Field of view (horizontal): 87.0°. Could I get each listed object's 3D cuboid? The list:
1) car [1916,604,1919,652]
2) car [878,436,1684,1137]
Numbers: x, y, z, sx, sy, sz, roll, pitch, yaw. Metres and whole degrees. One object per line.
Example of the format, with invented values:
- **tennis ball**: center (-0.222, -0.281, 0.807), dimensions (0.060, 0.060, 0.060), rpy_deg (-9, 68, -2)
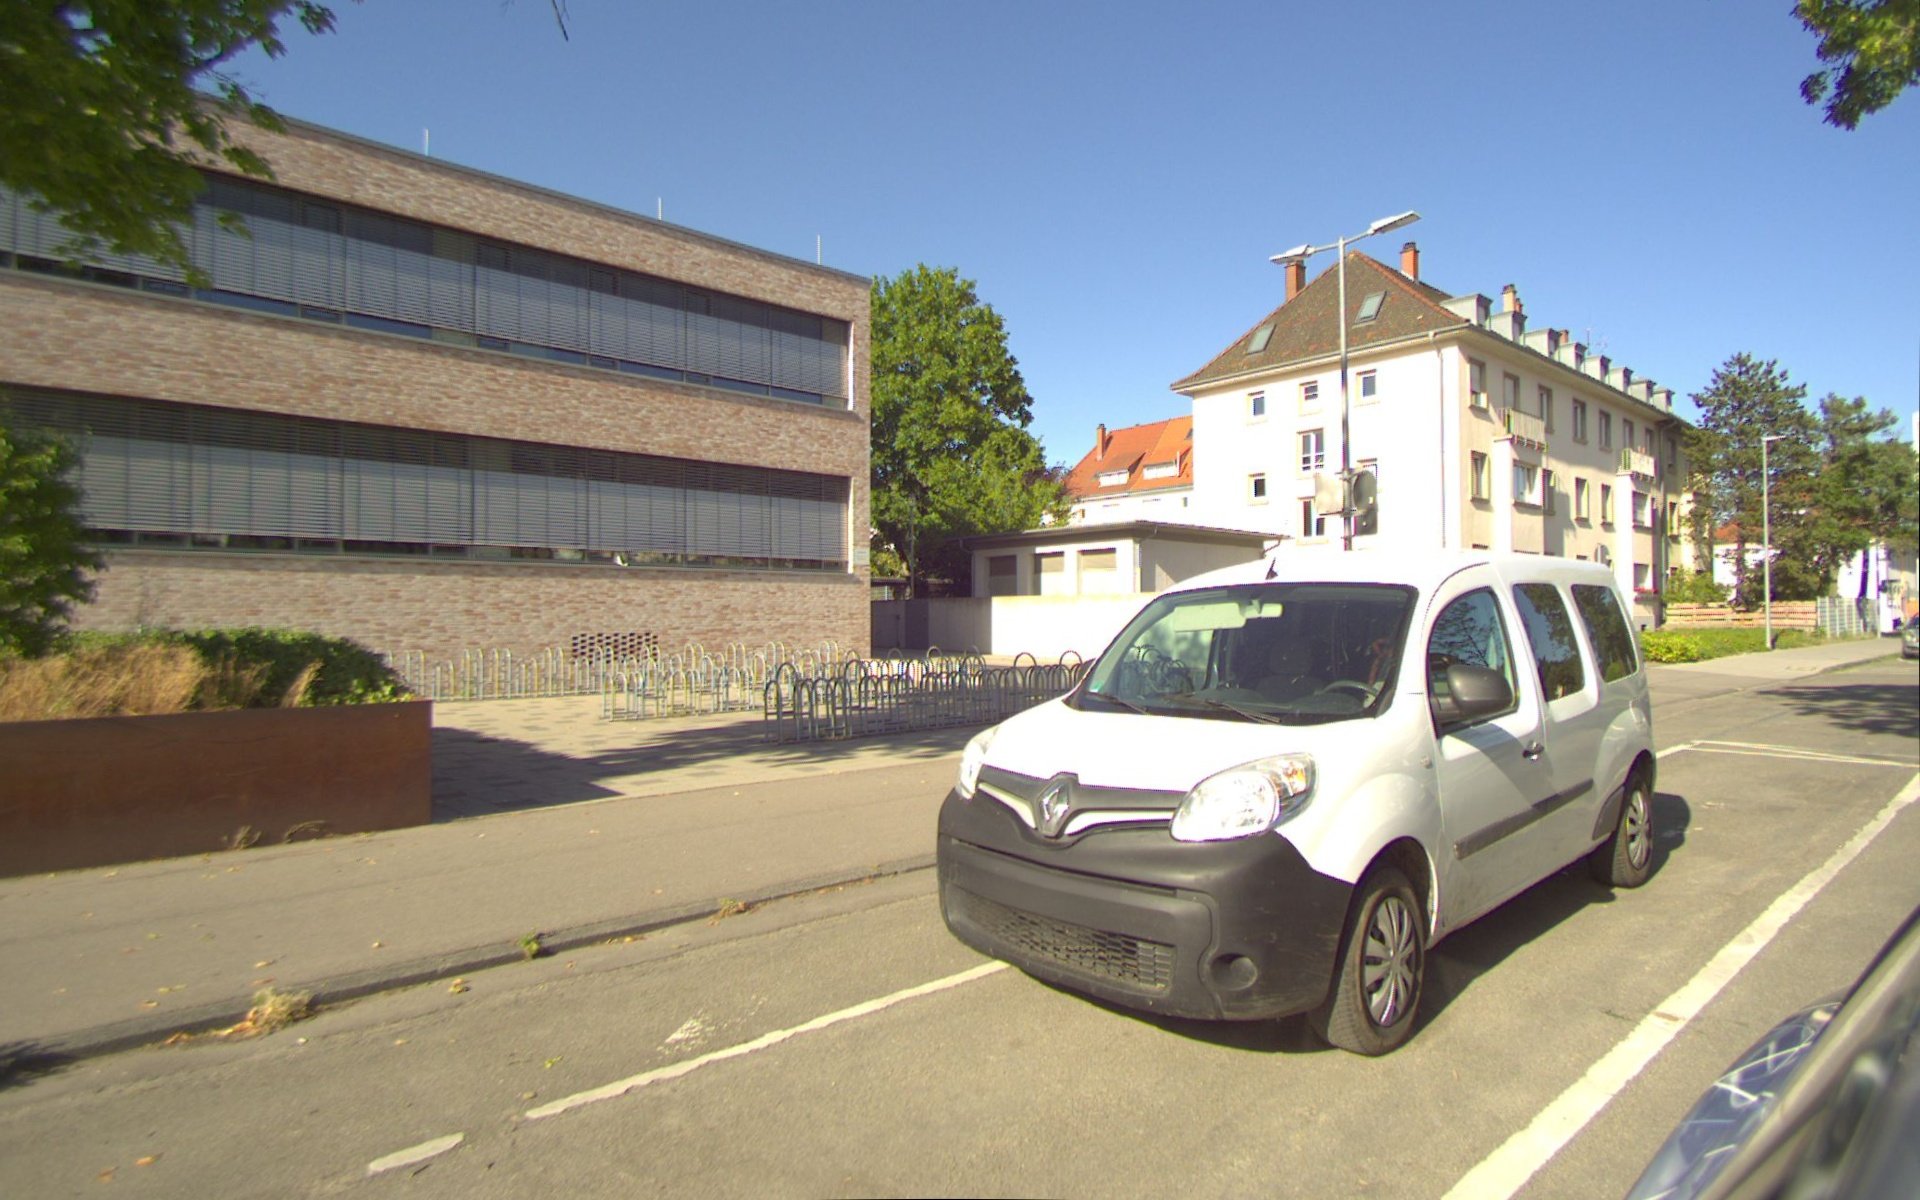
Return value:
- **car**: center (32.026, 0.845, 32.573), dimensions (1.659, 1.484, 4.339), rpy_deg (-4, -3, 45)
- **car**: center (1.885, 0.536, 4.964), dimensions (4.385, 1.933, 1.810), rpy_deg (0, -2, -43)
